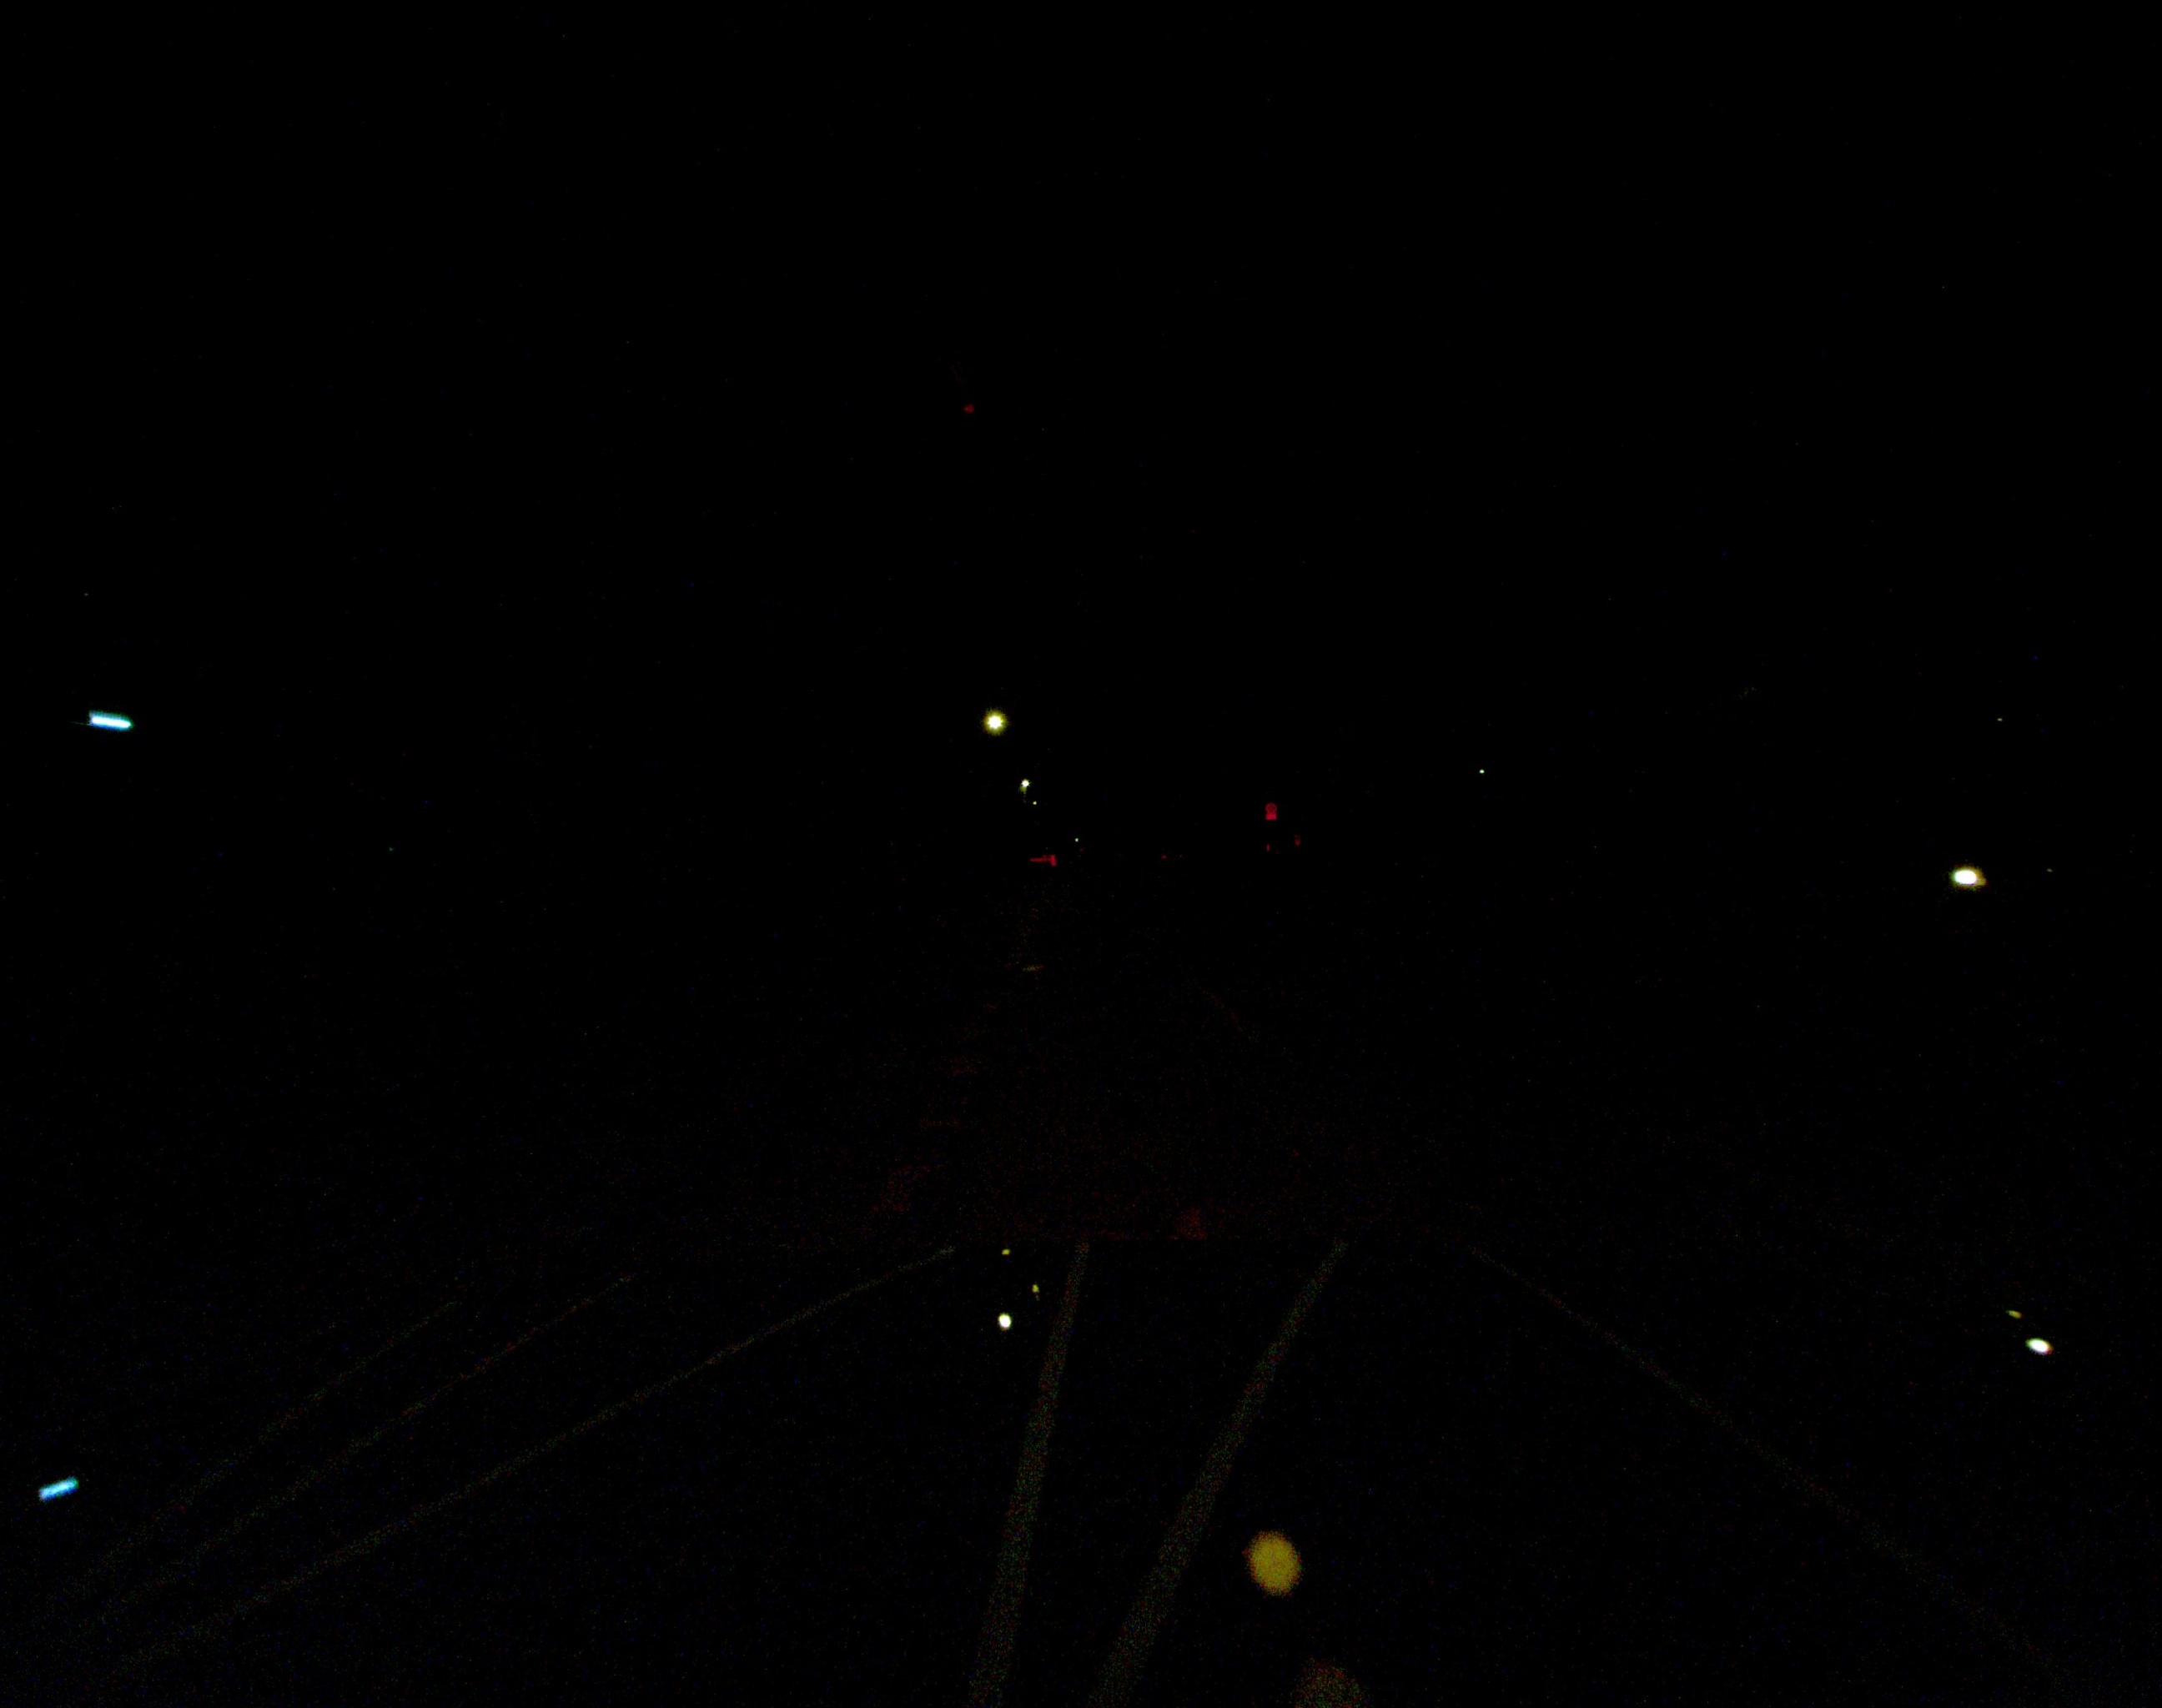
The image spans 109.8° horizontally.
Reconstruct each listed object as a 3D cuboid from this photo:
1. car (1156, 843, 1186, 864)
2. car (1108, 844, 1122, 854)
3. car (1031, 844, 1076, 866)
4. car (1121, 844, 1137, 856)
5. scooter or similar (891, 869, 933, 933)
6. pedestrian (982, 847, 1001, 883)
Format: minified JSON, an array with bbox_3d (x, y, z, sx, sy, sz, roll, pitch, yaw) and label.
[{"bbox_3d":[7.223,-0.044,61.039,1.911,1.445,3.999,-3,2,1],"label":"car"},{"bbox_3d":[5.210,-0.772,116.676,1.911,1.445,3.999,-3,2,1],"label":"car"},{"bbox_3d":[-2.542,0.056,70.747,3.997,1.820,1.913,-3,0,0],"label":"car"},{"bbox_3d":[6.342,-0.535,100.427,1.911,1.445,3.999,-3,2,1],"label":"car"},{"bbox_3d":[-3.621,0.983,16.343,0.570,1.271,1.391,0,0,0],"label":"scooter or similar"},{"bbox_3d":[-4.612,0.557,39.326,0.824,1.809,0.608,-3,2,1],"label":"pedestrian"}]
